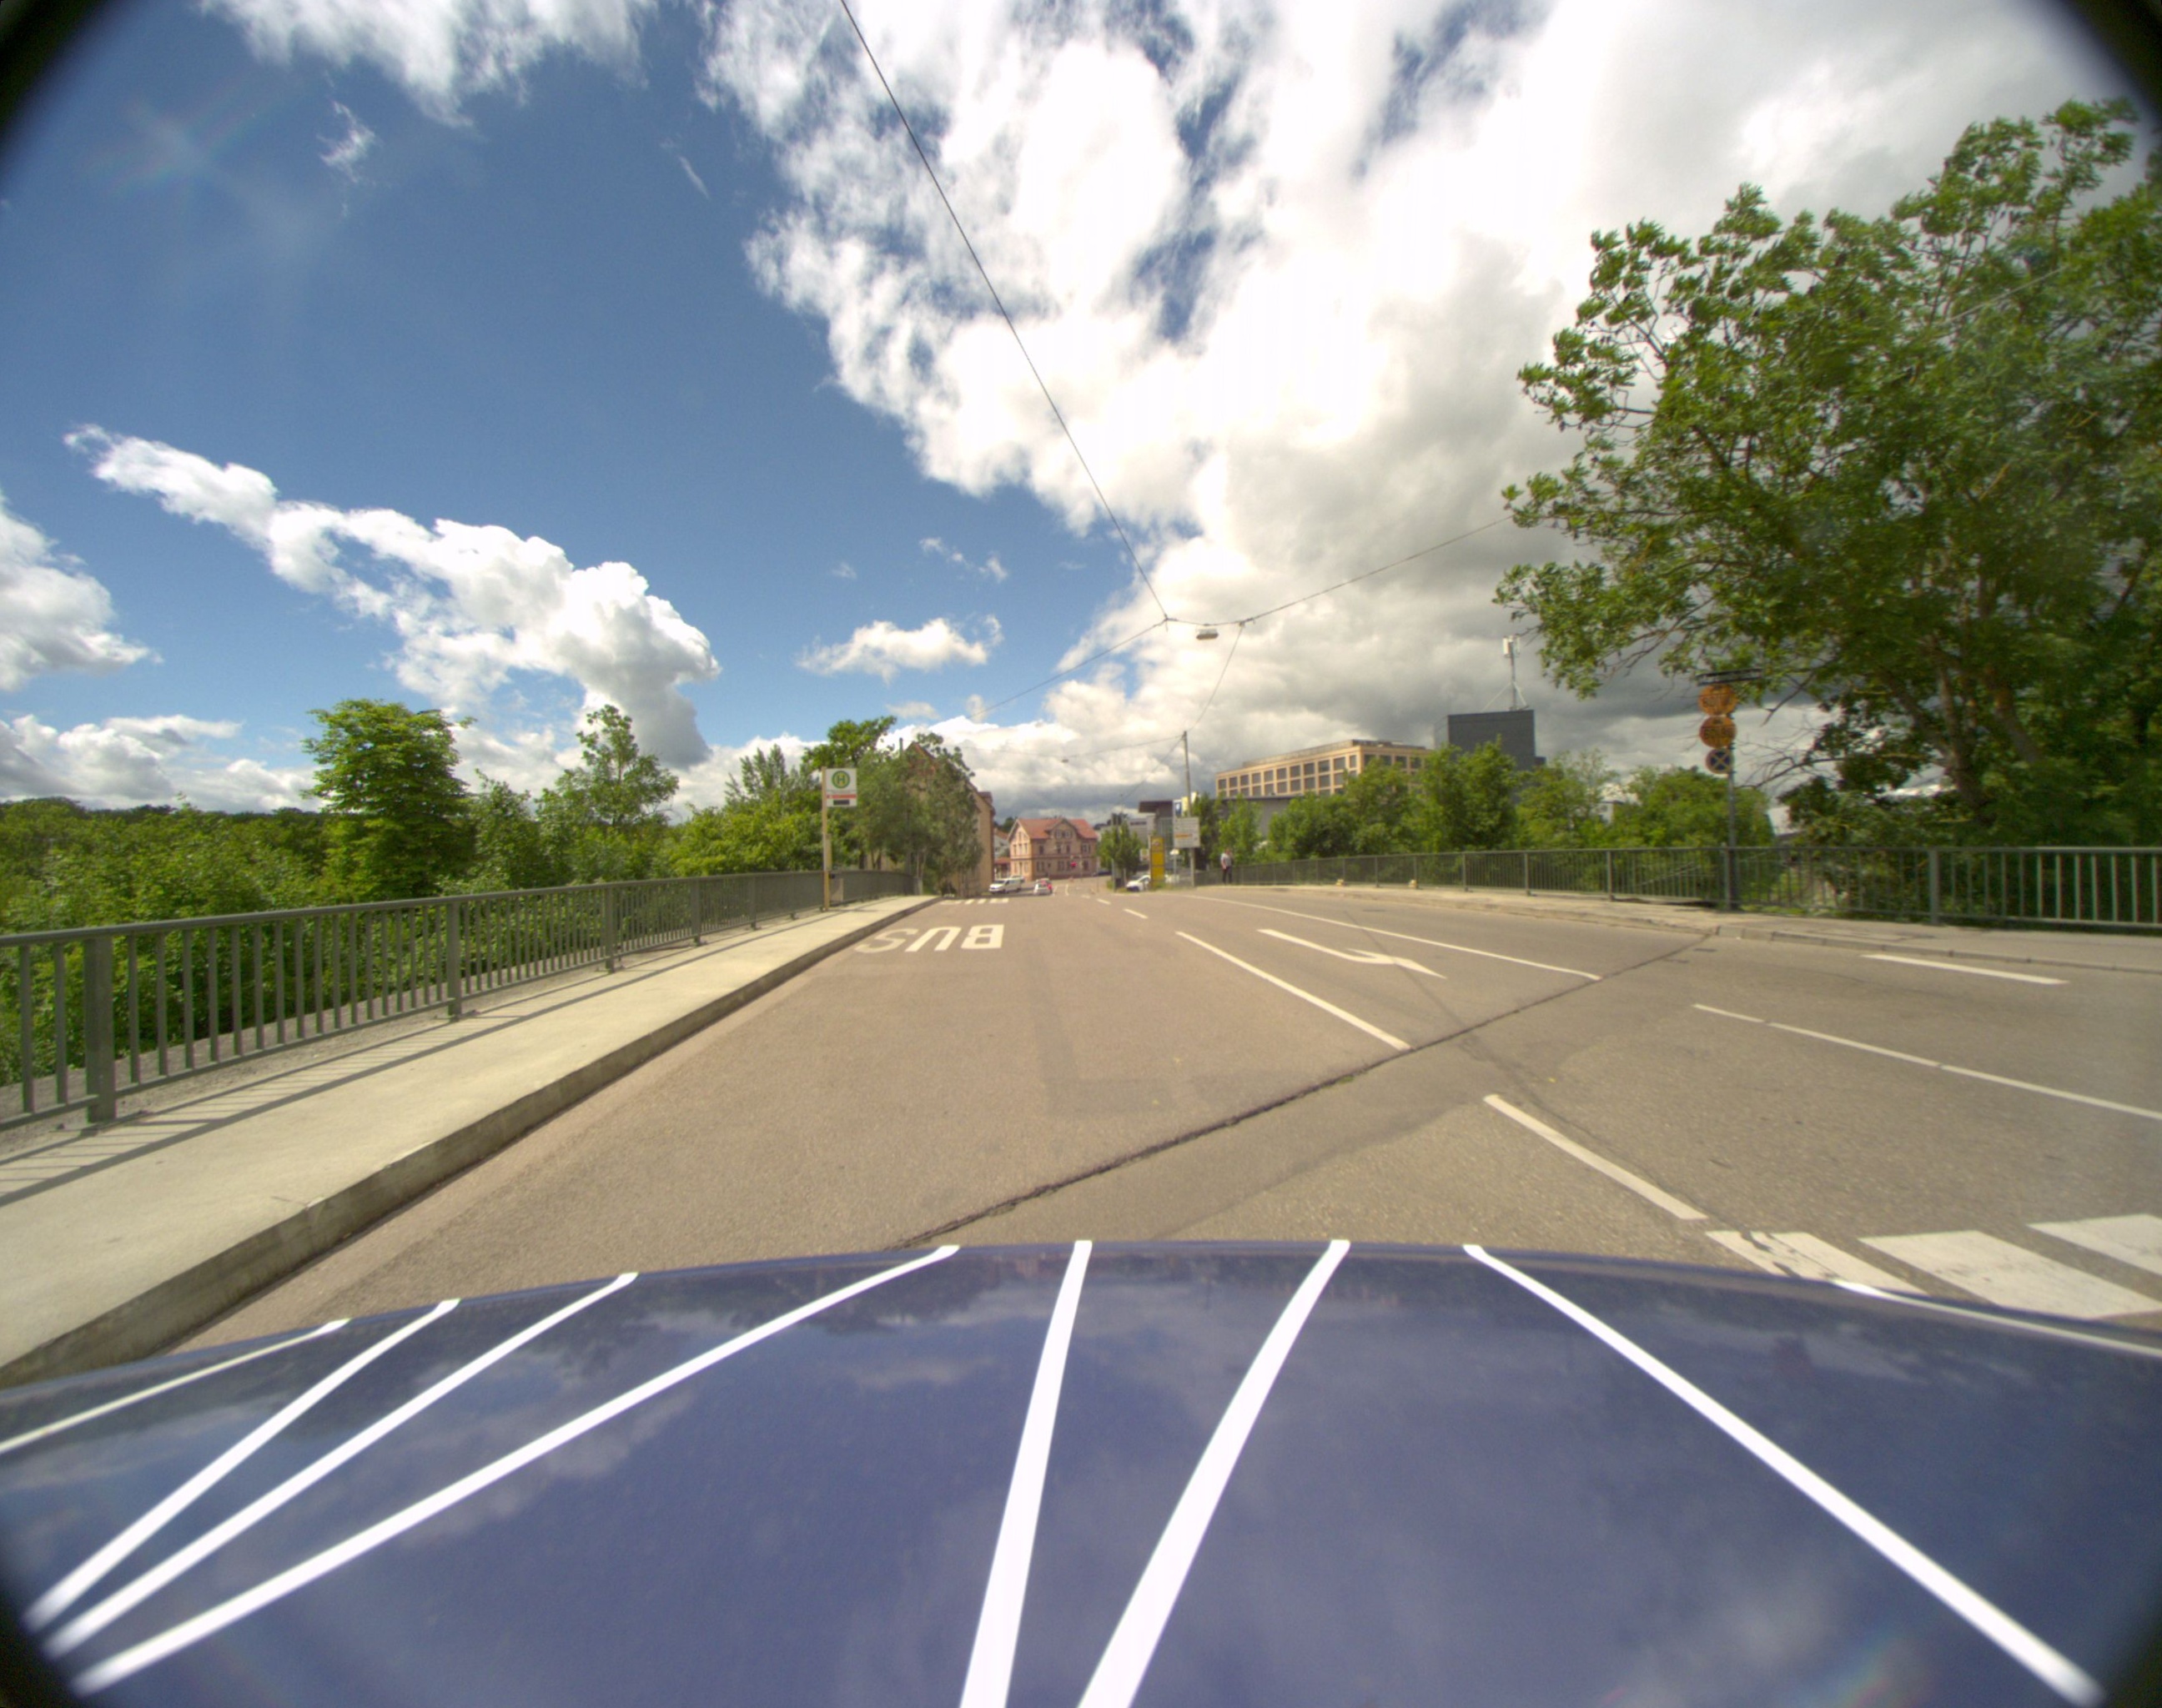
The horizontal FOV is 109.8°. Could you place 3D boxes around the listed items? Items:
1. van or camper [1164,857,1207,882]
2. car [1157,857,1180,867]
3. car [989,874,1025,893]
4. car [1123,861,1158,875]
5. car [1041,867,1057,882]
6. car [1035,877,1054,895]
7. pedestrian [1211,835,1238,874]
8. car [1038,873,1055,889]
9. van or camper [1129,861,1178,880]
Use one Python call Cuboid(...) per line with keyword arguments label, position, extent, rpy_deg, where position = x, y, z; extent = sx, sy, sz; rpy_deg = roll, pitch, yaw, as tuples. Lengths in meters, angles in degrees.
Cuboid(label="van or camper", position=(9.225, 1.322, 66.847), extent=(1.985, 1.951, 4.968), rpy_deg=(-3, -1, 29))
Cuboid(label="car", position=(12.193, 1.083, 106.117), extent=(3.019, 1.365, 1.518), rpy_deg=(-1, -1, -2))
Cuboid(label="car", position=(-9.761, 3.845, 100.604), extent=(1.995, 1.981, 4.997), rpy_deg=(-4, 1, 30))
Cuboid(label="car", position=(7.065, 1.683, 90.703), extent=(3.860, 1.488, 1.812), rpy_deg=(-1, -1, -4))
Cuboid(label="car", position=(-4.137, 2.636, 99.078), extent=(1.723, 1.572, 4.317), rpy_deg=(-7, 1, 0))
Cuboid(label="car", position=(-3.865, 3.354, 80.075), extent=(1.724, 1.572, 3.998), rpy_deg=(-4, 1, -4))
Cuboid(label="pedestrian", position=(7.150, 0.035, 37.847), extent=(0.999, 1.826, 1.037), rpy_deg=(-3, -1, -4))
Cuboid(label="car", position=(-4.145, 3.299, 92.441), extent=(1.723, 1.572, 4.250), rpy_deg=(-4, 1, 0))
Cuboid(label="van or camper", position=(7.212, 1.662, 75.893), extent=(4.679, 1.739, 2.000), rpy_deg=(-2, -1, 1))
